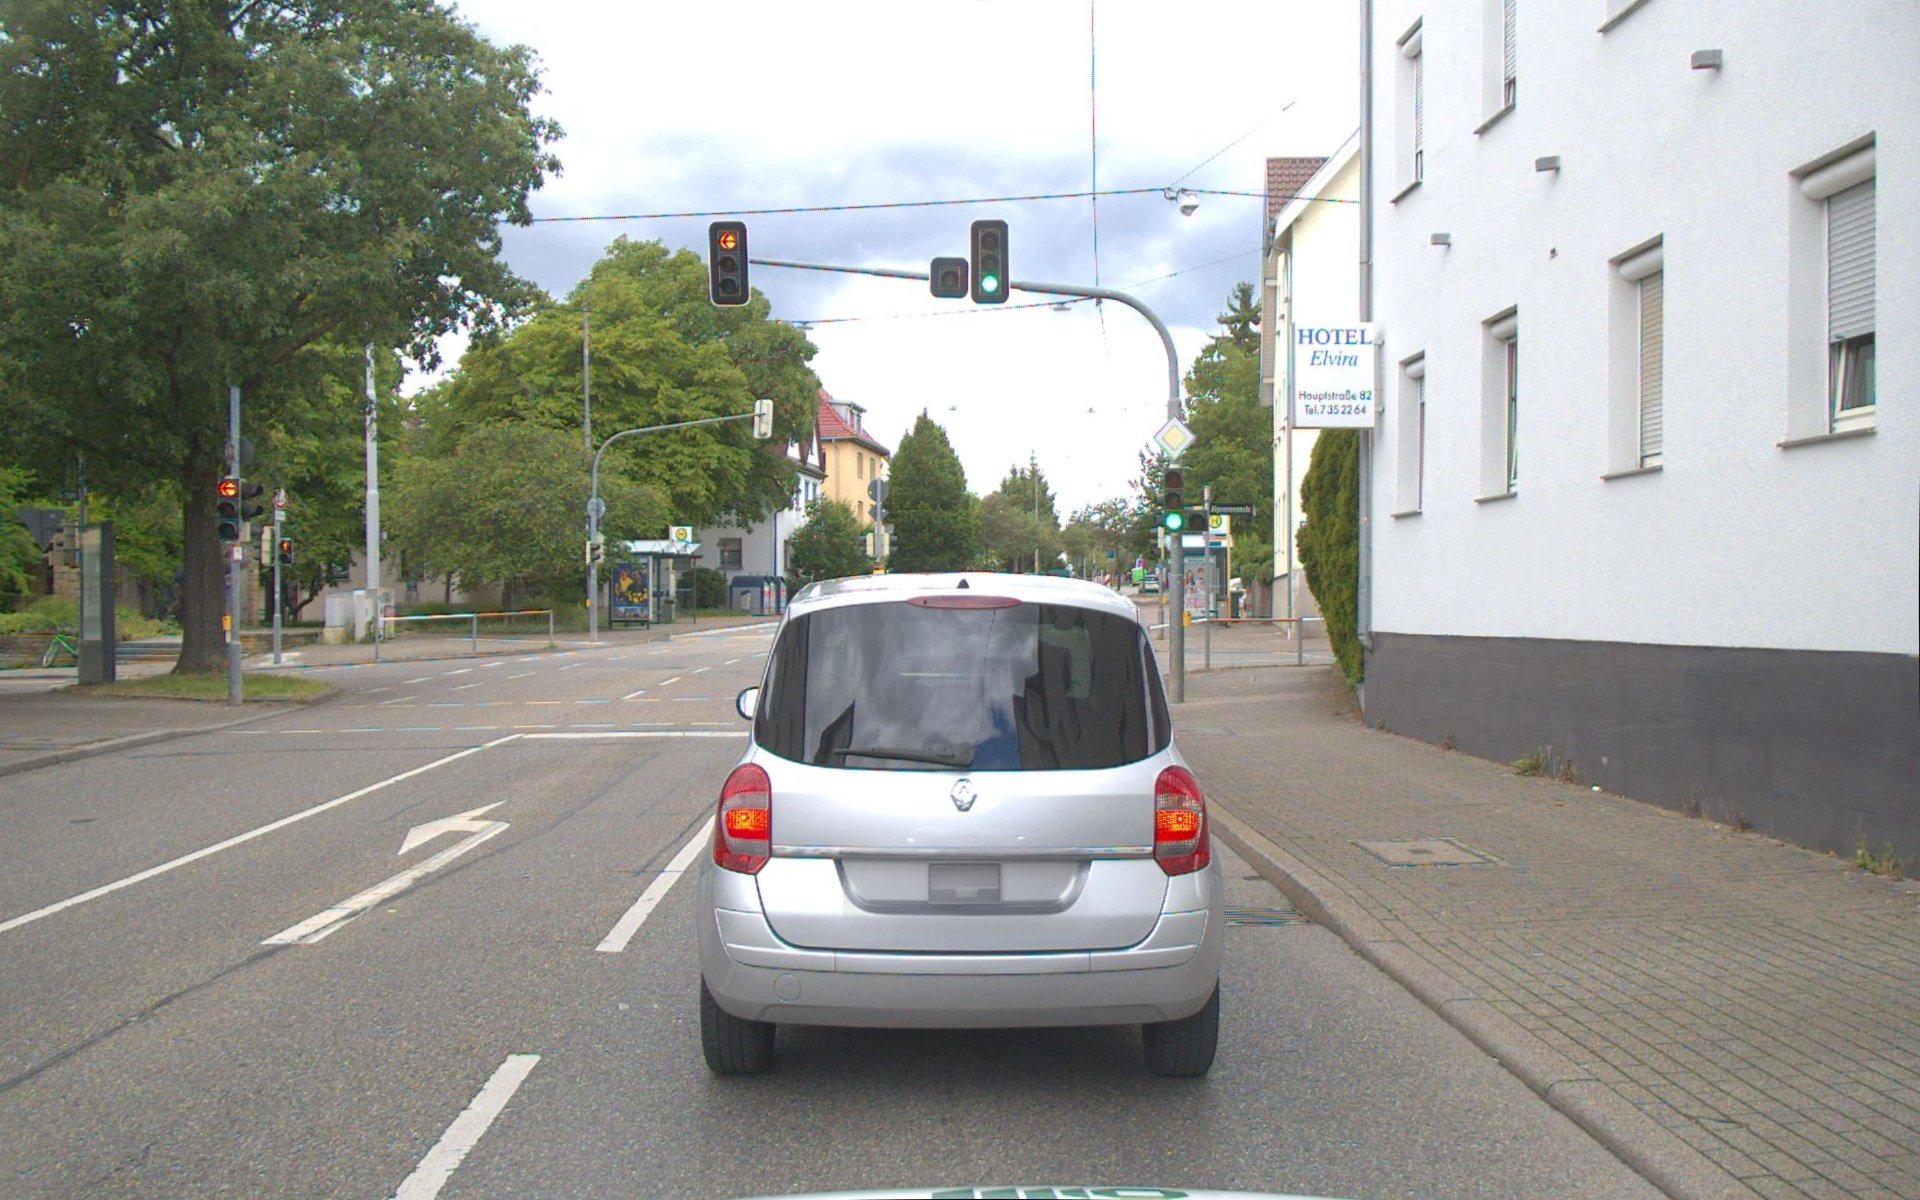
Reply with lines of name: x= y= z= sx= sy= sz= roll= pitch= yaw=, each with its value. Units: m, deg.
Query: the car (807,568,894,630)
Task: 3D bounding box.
car: x=-3.542 y=-0.044 z=54.124 sx=1.885 sy=1.804 sz=4.004 roll=-4 pitch=0 yaw=9

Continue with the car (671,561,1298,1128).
car: x=0.032 y=0.677 z=6.564 sx=1.719 sy=1.557 sz=3.999 roll=1 pitch=0 yaw=-1

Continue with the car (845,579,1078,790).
car: x=-0.028 y=0.627 z=14.216 sx=1.719 sy=1.557 sz=3.796 roll=1 pitch=0 yaw=-1

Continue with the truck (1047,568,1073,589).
truck: x=10.084 y=-2.140 z=166.680 sx=2.056 sy=2.049 sz=5.752 roll=1 pitch=0 yaw=9

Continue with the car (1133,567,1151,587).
car: x=24.870 y=-3.122 z=225.605 sx=2.015 sy=2.556 sz=5.600 roll=1 pitch=0 yaw=11

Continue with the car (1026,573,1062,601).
car: x=5.445 y=-0.834 z=107.030 sx=1.818 sy=1.778 sz=4.003 roll=1 pitch=0 yaw=11
